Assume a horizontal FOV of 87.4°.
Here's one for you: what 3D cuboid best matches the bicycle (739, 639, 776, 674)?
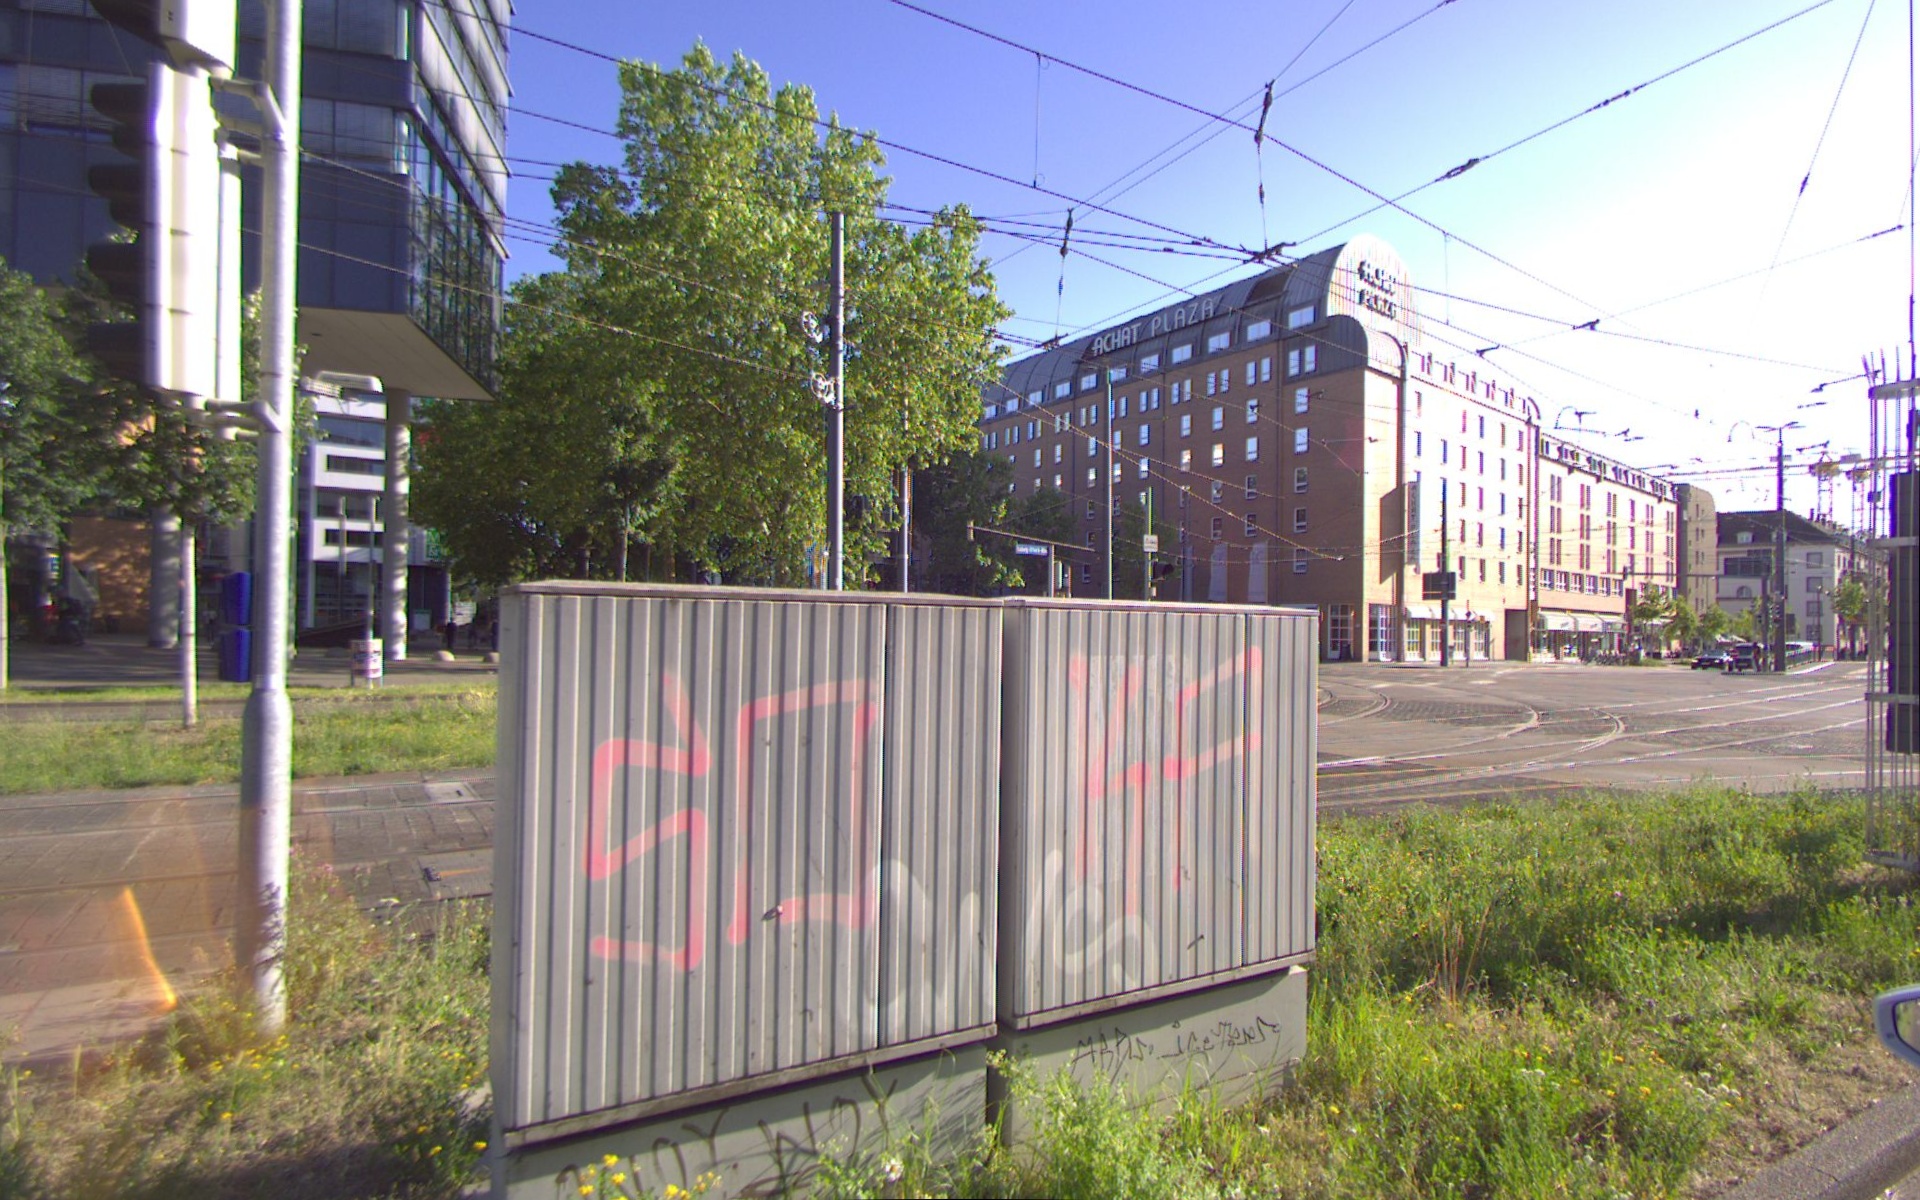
[{"bbox_3d":[-7.108,1.963,35.200,0.592,1.143,2.349,1,-1,-29],"label":"bicycle"}]

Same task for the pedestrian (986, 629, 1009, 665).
[{"bbox_3d":[1.783,2.218,47.830,0.821,1.702,0.711,0,-1,-29],"label":"pedestrian"}]

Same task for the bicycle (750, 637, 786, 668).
[{"bbox_3d":[-7.400,1.991,38.648,0.592,1.143,2.348,1,-1,-30],"label":"bicycle"}]

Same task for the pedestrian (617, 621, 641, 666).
[{"bbox_3d":[-12.798,1.683,38.876,0.819,1.702,0.712,0,-1,-23],"label":"pedestrian"}]

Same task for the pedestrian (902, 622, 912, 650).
[{"bbox_3d":[-3.645,2.469,69.092,0.581,1.853,0.745,1,-1,-1],"label":"pedestrian"}]

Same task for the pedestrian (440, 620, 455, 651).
[{"bbox_3d":[-29.374,2.039,57.553,0.691,1.737,0.727,2,-1,-33],"label":"pedestrian"}]

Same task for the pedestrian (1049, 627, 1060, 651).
[{"bbox_3d":[6.930,2.840,73.480,0.599,1.702,0.482,0,-1,-32],"label":"pedestrian"}]

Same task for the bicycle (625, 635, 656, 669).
[{"bbox_3d":[-11.646,1.874,36.570,0.592,1.143,2.348,1,-1,-30],"label":"bicycle"}]

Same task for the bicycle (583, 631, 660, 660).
[{"bbox_3d":[-16.114,2.166,47.925,1.021,1.371,3.342,-1,-2,44],"label":"bicycle"}]

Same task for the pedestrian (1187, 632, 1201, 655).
[{"bbox_3d":[17.672,3.269,75.888,0.734,1.688,0.745,1,-1,-38],"label":"pedestrian"}]

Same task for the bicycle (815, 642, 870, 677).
[{"bbox_3d":[-3.945,1.998,33.930,0.684,1.152,1.841,-1,-2,42],"label":"bicycle"}]

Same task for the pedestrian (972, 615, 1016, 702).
[{"bbox_3d":[0.750,1.285,22.364,0.691,1.894,0.728,2,-2,-31],"label":"pedestrian"}]

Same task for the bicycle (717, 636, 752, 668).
[{"bbox_3d":[-8.585,1.972,38.193,0.592,1.143,2.348,1,-1,-30],"label":"bicycle"}]

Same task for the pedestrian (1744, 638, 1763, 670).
[{"bbox_3d":[44.148,2.977,55.866,0.589,1.750,0.715,2,-2,-39],"label":"pedestrian"}]

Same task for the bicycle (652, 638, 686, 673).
[{"bbox_3d":[-9.863,1.859,34.031,0.592,1.143,2.349,1,-1,-29],"label":"bicycle"}]

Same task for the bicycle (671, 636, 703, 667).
[{"bbox_3d":[-10.590,1.964,38.911,0.592,1.143,2.348,1,-1,-30],"label":"bicycle"}]

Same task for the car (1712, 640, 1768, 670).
[{"bbox_3d":[49.670,3.475,63.943,4.071,1.859,1.826,2,-4,-38],"label":"car"}]

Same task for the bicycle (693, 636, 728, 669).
[{"bbox_3d":[-9.225,1.928,37.073,0.592,1.143,2.348,1,-1,-30],"label":"bicycle"}]

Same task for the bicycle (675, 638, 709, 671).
[{"bbox_3d":[-9.824,1.963,36.791,0.592,1.143,2.348,1,-1,-30],"label":"bicycle"}]

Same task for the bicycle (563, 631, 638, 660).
[{"bbox_3d":[-17.608,2.228,49.254,1.021,1.371,3.342,-1,-2,44],"label":"bicycle"}]

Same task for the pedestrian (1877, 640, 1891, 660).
[{"bbox_3d":[79.282,4.282,86.207,0.850,1.692,0.781,0,0,39],"label":"pedestrian"}]

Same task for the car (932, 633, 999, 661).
[{"bbox_3d":[0.248,2.450,53.048,1.653,1.433,3.965,2,-3,-32],"label":"car"}]

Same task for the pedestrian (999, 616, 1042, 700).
[{"bbox_3d":[1.377,1.318,22.994,0.666,1.894,0.727,2,-2,-33],"label":"pedestrian"}]

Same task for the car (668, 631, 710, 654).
[{"bbox_3d":[-17.593,2.772,65.211,1.652,1.425,3.968,2,-3,-30],"label":"car"}]

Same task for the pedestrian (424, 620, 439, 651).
[{"bbox_3d":[-30.024,2.023,57.067,0.691,1.737,0.727,2,-1,-33],"label":"pedestrian"}]

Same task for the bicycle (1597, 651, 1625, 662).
[{"bbox_3d":[55.249,4.792,85.252,0.477,0.933,2.024,1,-2,-29],"label":"bicycle"}]

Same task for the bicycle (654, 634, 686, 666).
[{"bbox_3d":[-10.719,1.823,37.116,0.592,1.143,2.348,1,-1,-30],"label":"bicycle"}]

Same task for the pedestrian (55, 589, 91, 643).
[{"bbox_3d":[-28.642,0.527,32.436,0.691,1.727,0.728,2,-2,-31],"label":"pedestrian"}]

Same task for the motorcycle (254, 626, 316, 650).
[{"bbox_3d":[-31.968,1.800,47.609,2.308,1.072,0.828,2,-1,-22],"label":"motorcycle"}]

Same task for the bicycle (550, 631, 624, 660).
[{"bbox_3d":[-18.658,2.276,50.325,1.021,1.371,3.342,-1,-2,44],"label":"bicycle"}]

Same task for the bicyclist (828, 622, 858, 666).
[{"bbox_3d":[-3.951,1.480,33.930,0.684,1.480,0.750,0,-2,42],"label":"bicyclist"}]

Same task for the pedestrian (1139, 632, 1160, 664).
[{"bbox_3d":[10.201,2.579,54.095,0.824,1.702,0.708,0,-1,-39],"label":"pedestrian"}]

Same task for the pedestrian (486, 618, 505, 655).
[{"bbox_3d":[-21.595,1.693,46.676,0.691,1.674,0.700,2,-2,-32],"label":"pedestrian"}]

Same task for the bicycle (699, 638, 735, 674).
[{"bbox_3d":[-8.318,1.890,34.368,0.592,1.143,2.349,1,-1,-29],"label":"bicycle"}]

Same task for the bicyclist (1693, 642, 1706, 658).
[{"bbox_3d":[65.499,4.419,88.949,0.919,1.395,0.802,2,-2,-42],"label":"bicyclist"}]

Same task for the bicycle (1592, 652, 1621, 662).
[{"bbox_3d":[54.239,4.769,84.303,0.477,0.856,2.024,1,-2,-29],"label":"bicycle"}]

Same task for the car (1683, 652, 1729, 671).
[{"bbox_3d":[52.085,4.267,70.120,4.199,1.285,1.822,3,-4,-43],"label":"car"}]

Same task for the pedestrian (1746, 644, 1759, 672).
[{"bbox_3d":[45.450,3.322,57.622,0.573,1.597,0.644,0,-2,36],"label":"pedestrian"}]

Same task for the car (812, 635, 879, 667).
[{"bbox_3d":[-5.391,2.364,47.001,1.652,1.425,3.968,2,-3,-30],"label":"car"}]

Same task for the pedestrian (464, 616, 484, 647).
[{"bbox_3d":[-26.249,1.723,54.271,0.685,1.644,0.734,1,-1,1],"label":"pedestrian"}]

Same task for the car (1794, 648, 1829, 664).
[{"bbox_3d":[76.461,5.018,90.165,4.267,1.467,1.823,3,-4,-42],"label":"car"}]
